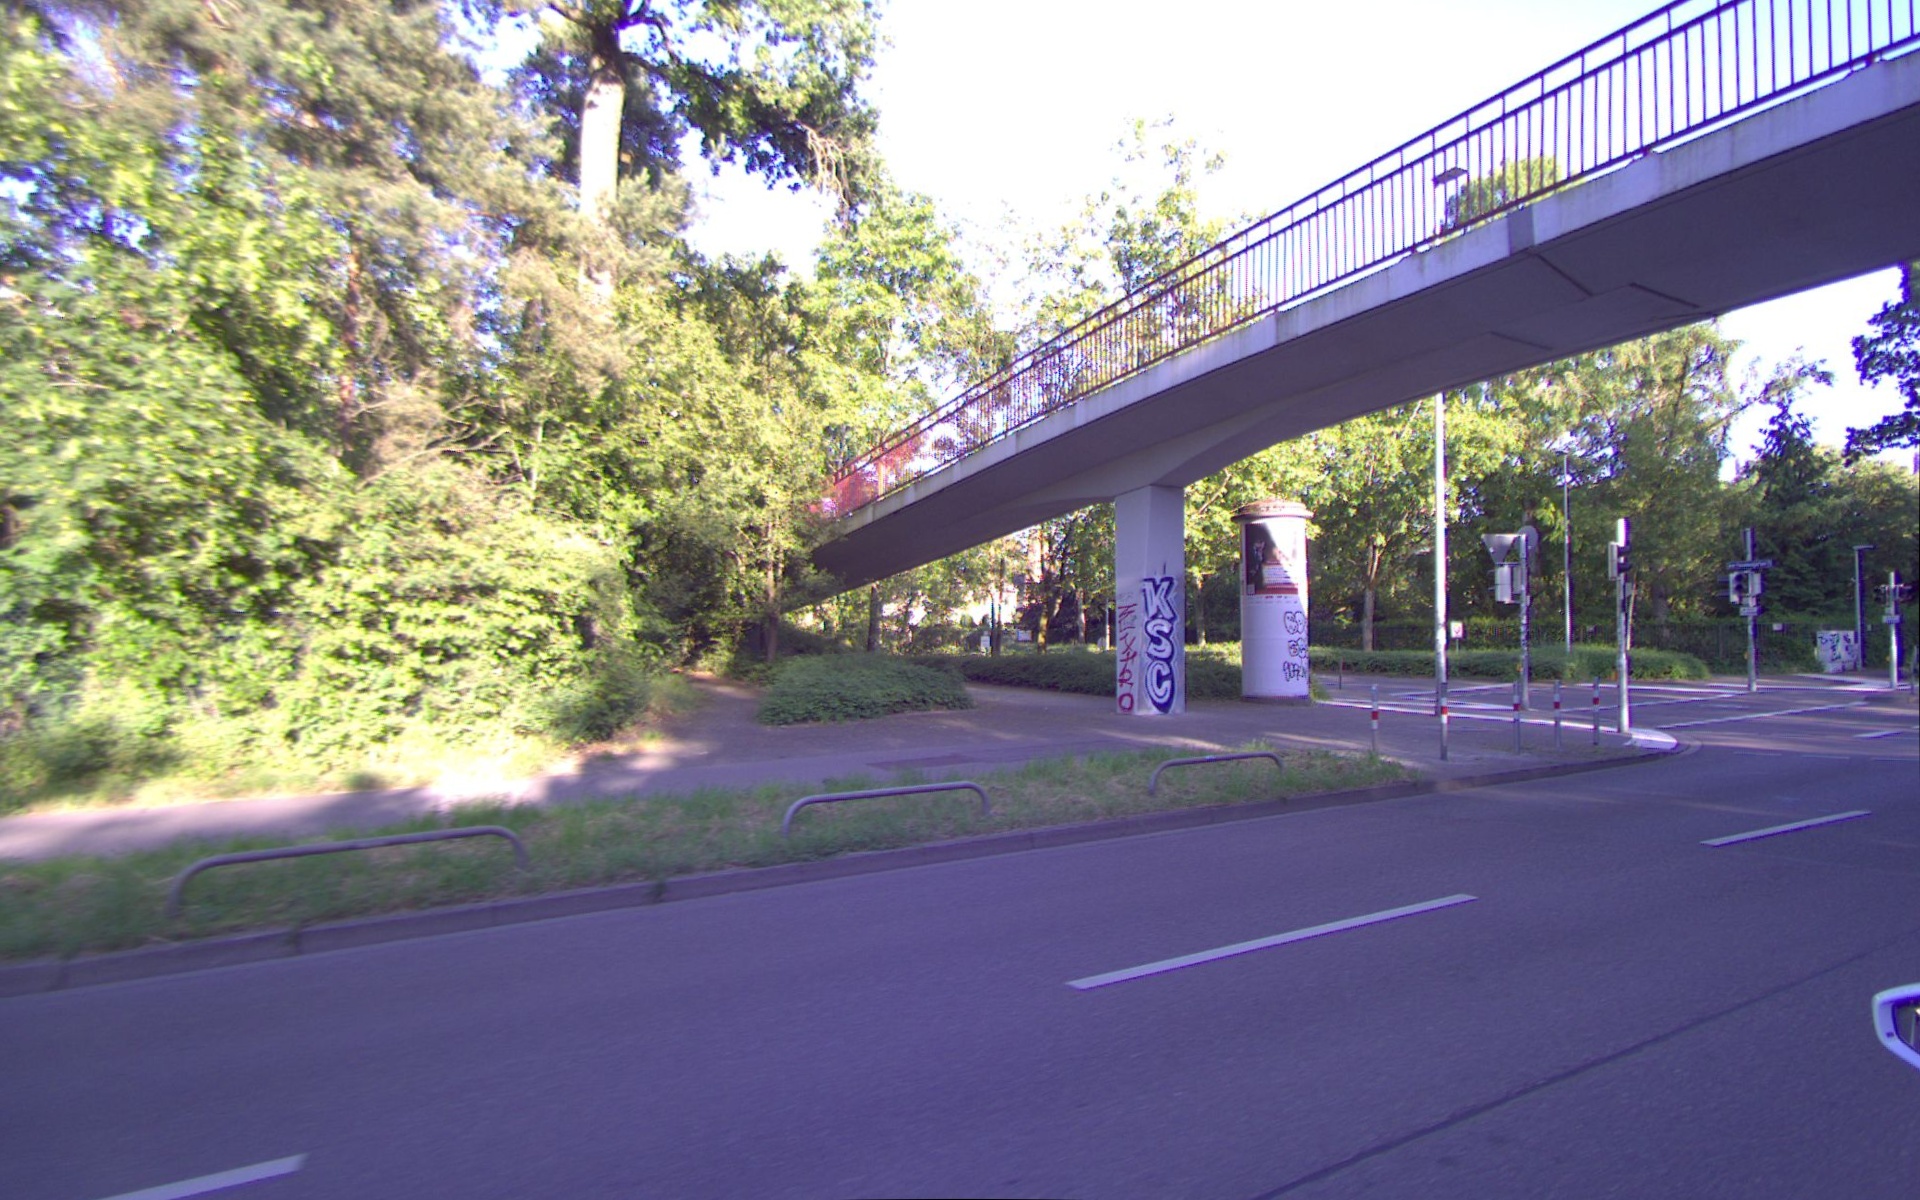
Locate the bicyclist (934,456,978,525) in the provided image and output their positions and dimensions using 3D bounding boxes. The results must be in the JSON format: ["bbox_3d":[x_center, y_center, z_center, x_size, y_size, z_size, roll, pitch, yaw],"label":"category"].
[{"bbox_3d":[-0.106,-2.773,25.532,0.706,1.607,0.965,2,-1,-31],"label":"bicyclist"}]
